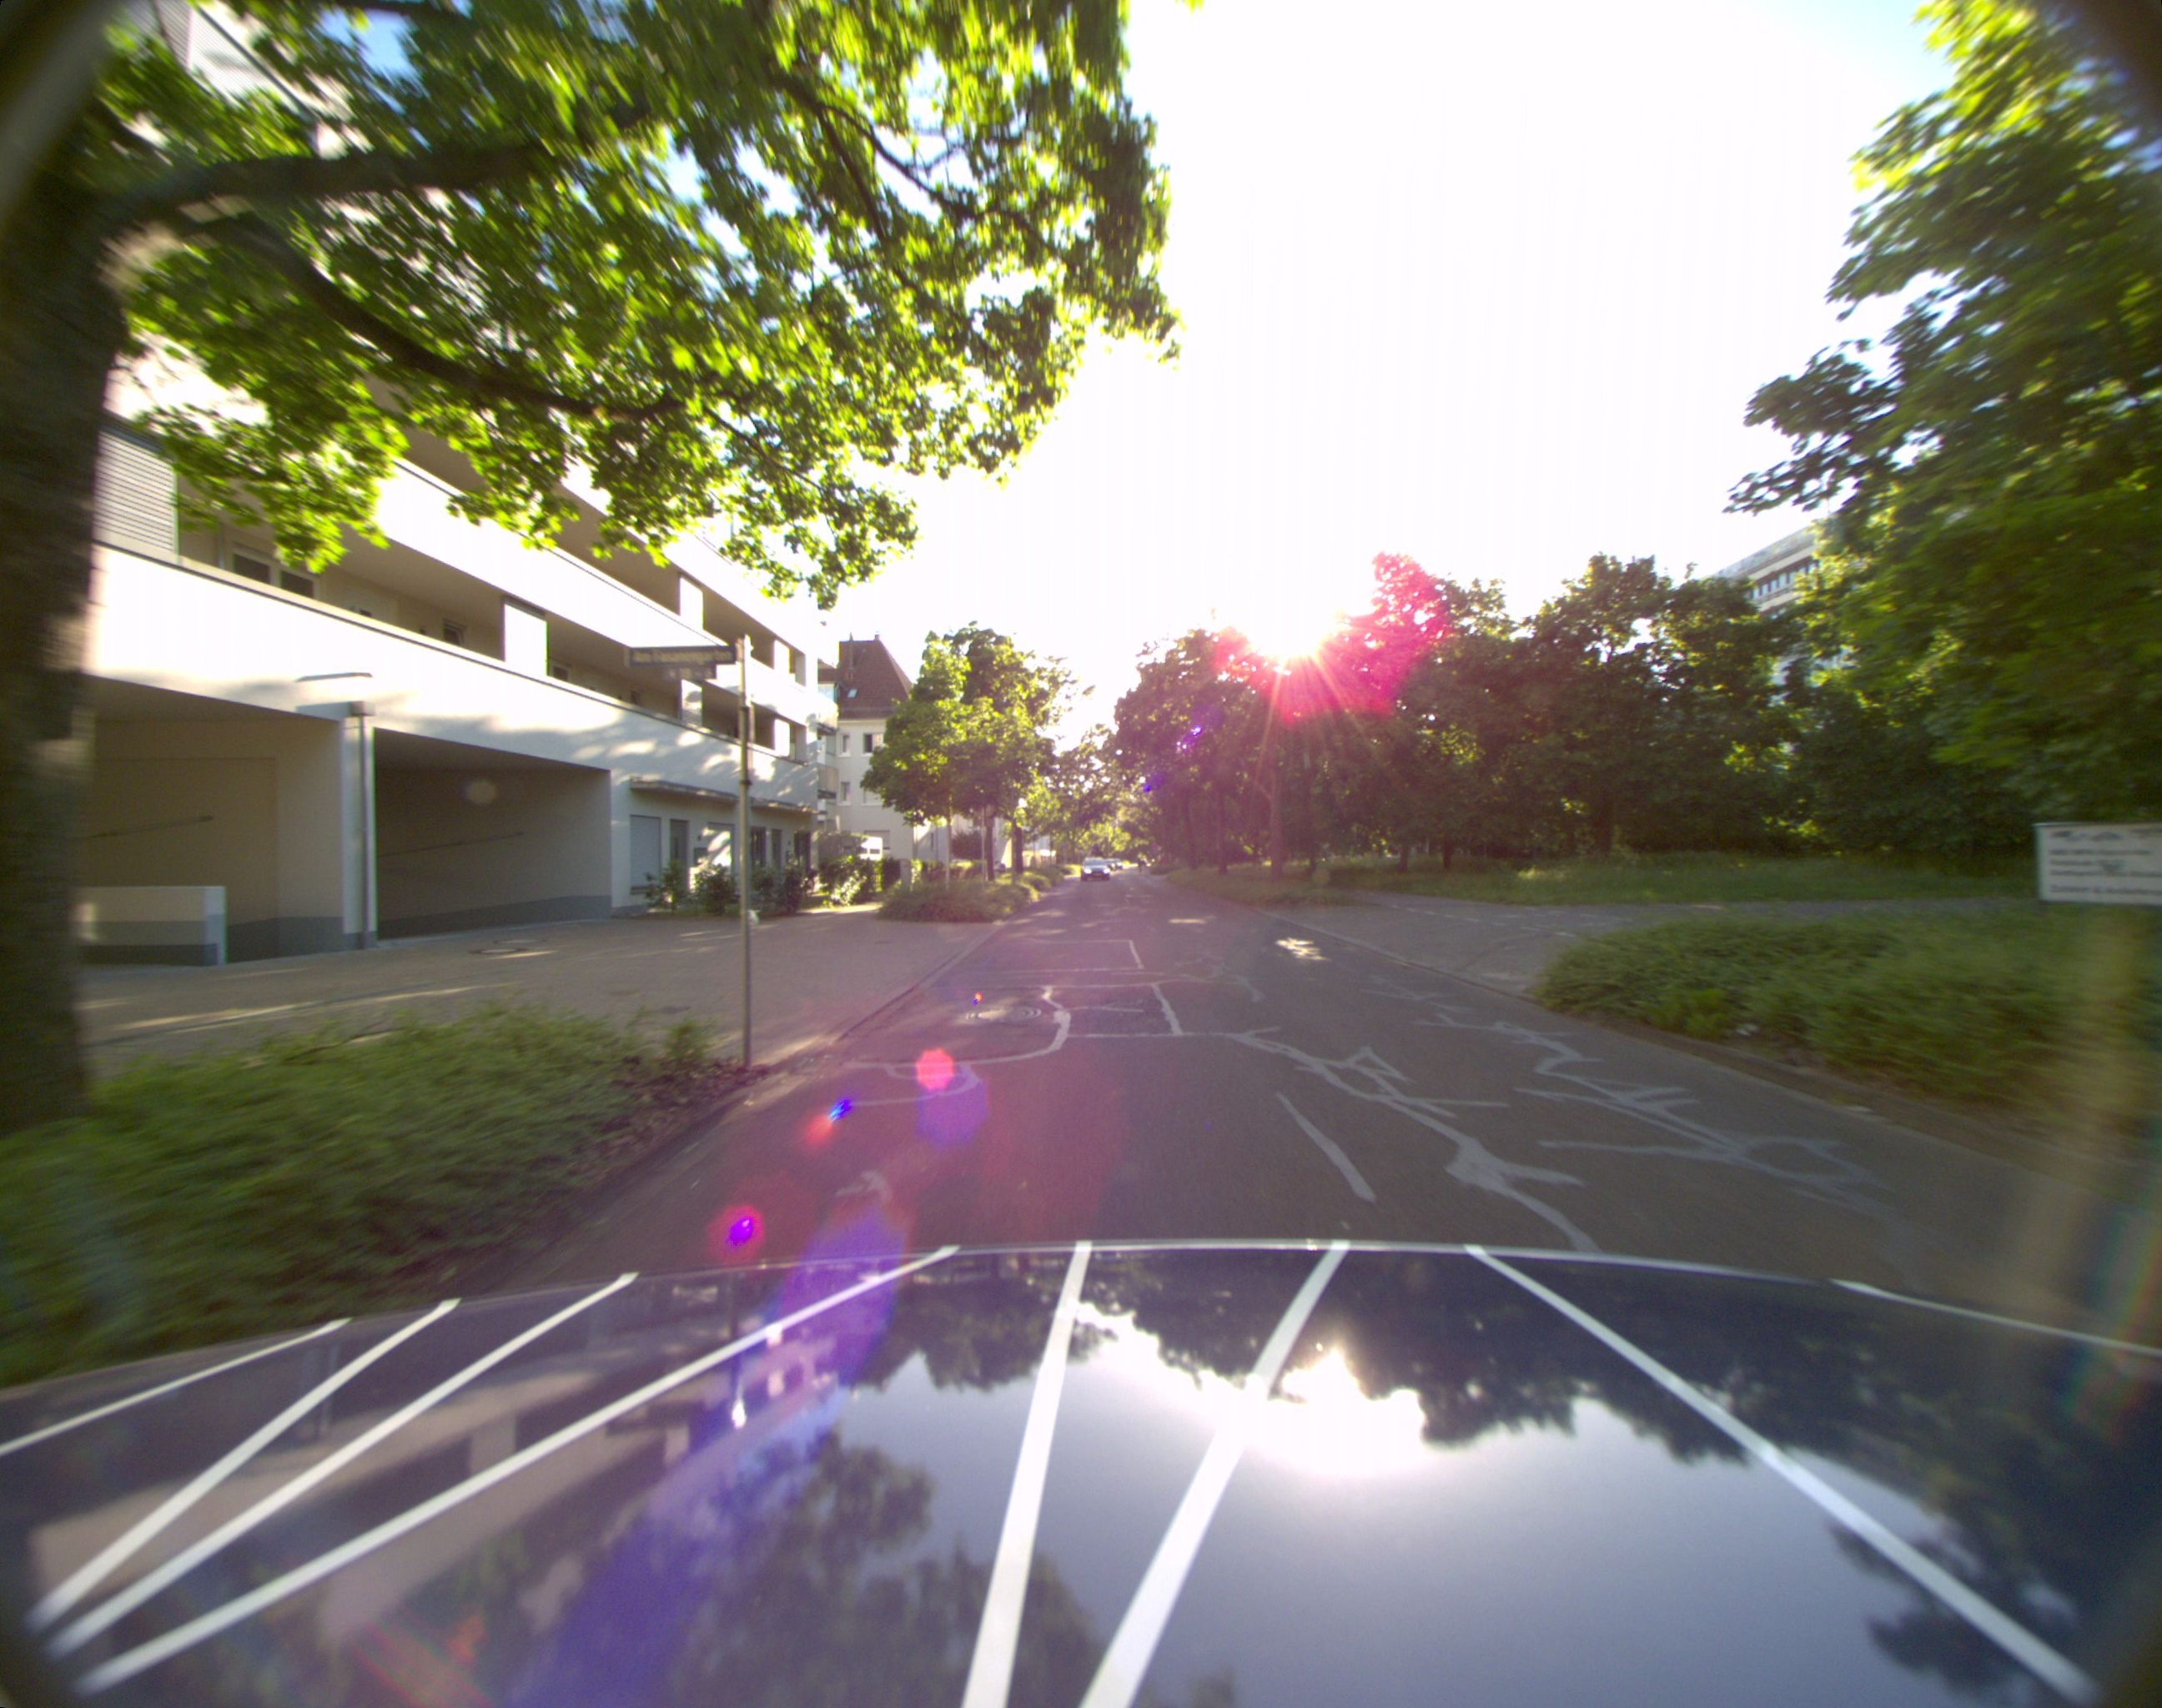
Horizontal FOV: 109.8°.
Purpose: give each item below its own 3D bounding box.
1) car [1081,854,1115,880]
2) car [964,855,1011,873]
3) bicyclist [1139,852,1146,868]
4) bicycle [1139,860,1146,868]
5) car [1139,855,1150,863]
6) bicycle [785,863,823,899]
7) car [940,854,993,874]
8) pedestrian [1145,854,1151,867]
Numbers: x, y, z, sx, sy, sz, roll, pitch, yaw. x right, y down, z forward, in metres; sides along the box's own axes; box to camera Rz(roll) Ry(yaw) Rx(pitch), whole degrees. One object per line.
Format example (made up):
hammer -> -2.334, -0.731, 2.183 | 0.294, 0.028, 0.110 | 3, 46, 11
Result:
car -> 1.145, 0.899, 53.922 | 1.769, 1.663, 4.277 | -3, 0, -6
car -> -8.514, 0.930, 69.386 | 4.050, 1.506, 1.727 | -2, 2, 2
bicyclist -> 5.951, 0.569, 73.710 | 0.634, 1.546, 1.003 | 1, 0, 5
bicycle -> 5.933, 0.996, 73.547 | 0.640, 0.737, 2.127 | 1, 0, 5
car -> 12.632, 0.987, 151.407 | 1.847, 1.569, 4.339 | 1, 0, 11
bicycle -> -9.575, 0.913, 26.349 | 0.619, 1.184, 1.753 | -2, 0, 1
car -> -9.347, 0.859, 62.157 | 3.997, 1.572, 1.810 | -1, -1, 1
pedestrian -> 9.533, 0.880, 108.043 | 0.905, 1.810, 0.721 | -1, 0, 3
